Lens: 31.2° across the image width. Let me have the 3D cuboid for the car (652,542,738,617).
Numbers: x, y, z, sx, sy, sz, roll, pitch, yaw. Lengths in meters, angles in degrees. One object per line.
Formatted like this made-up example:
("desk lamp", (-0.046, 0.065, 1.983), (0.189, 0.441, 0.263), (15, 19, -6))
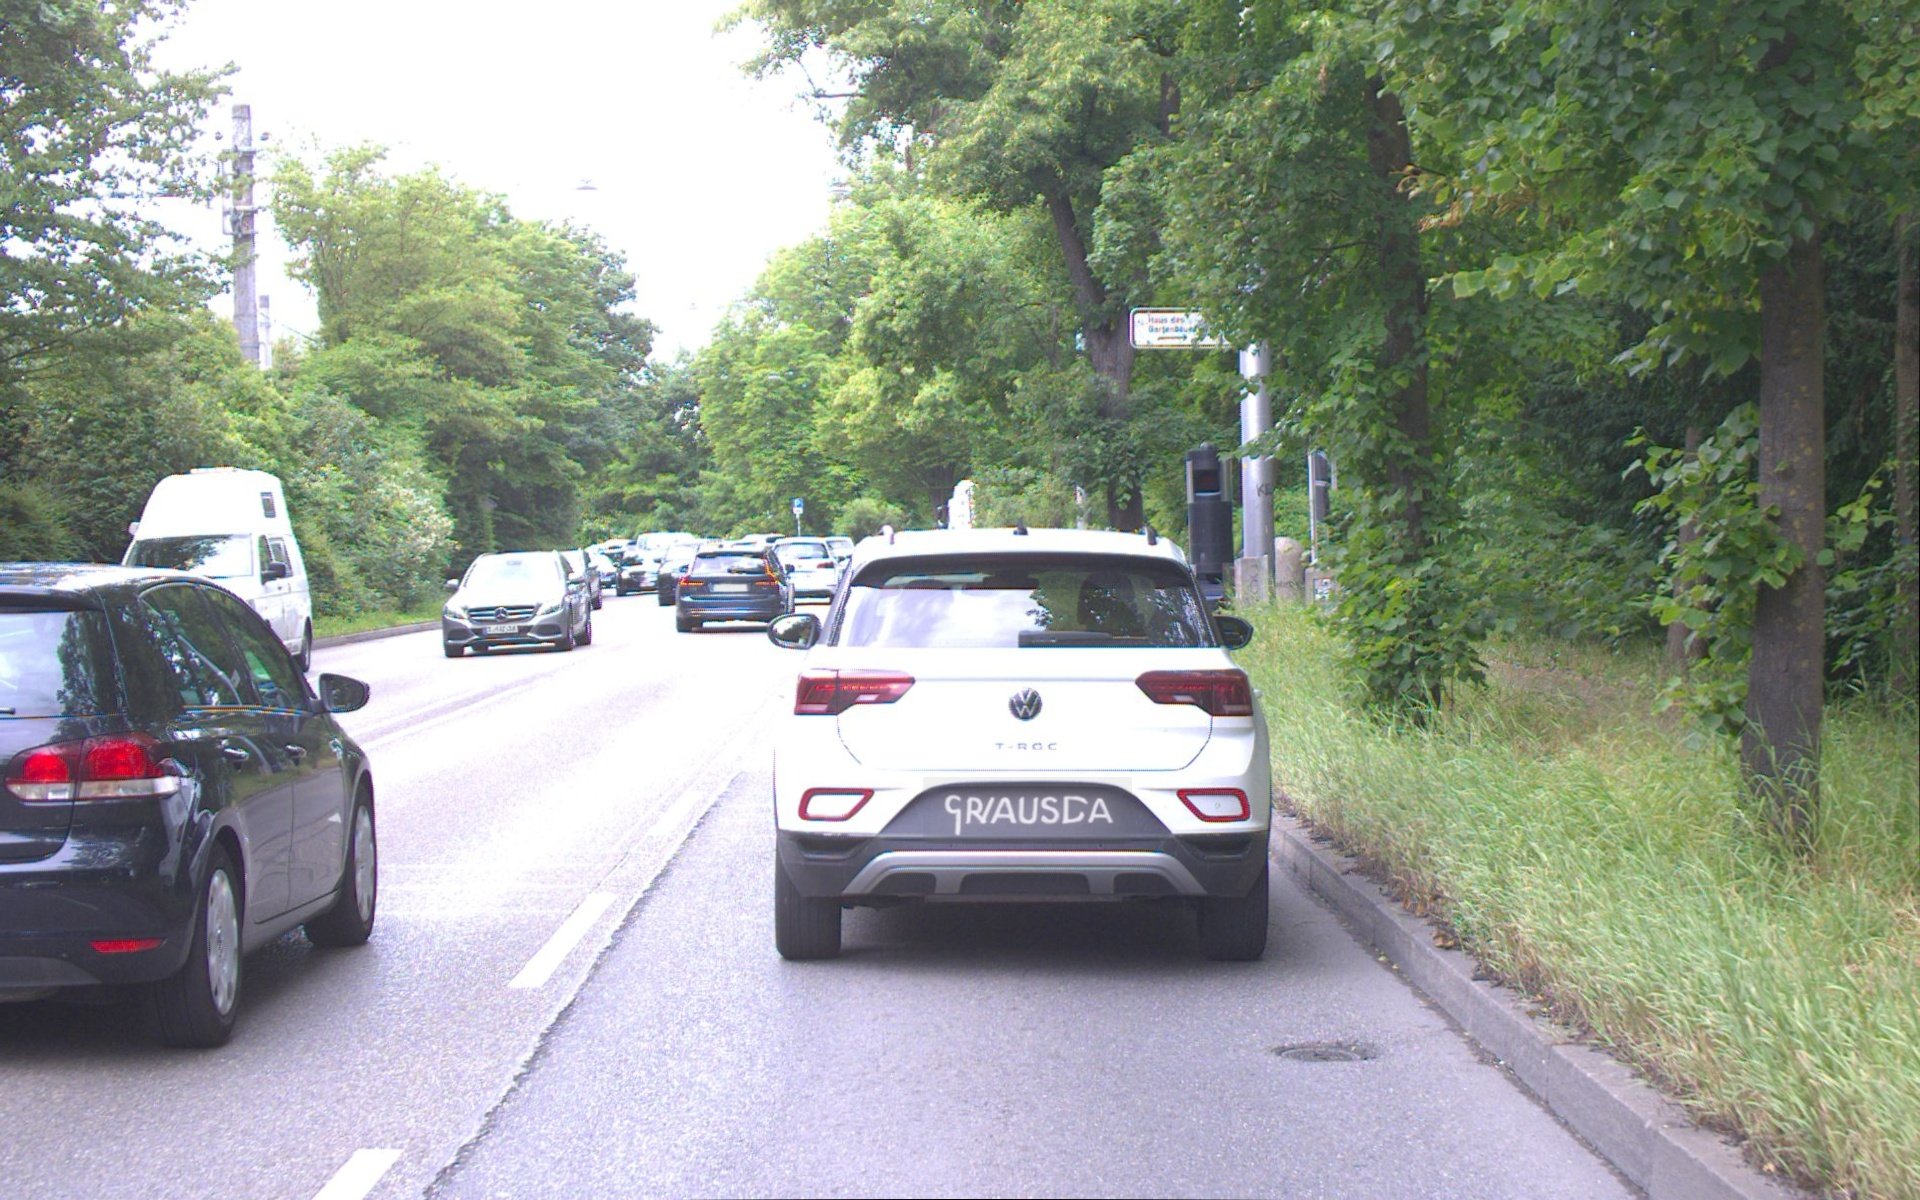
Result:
("car", (-6.852, -0.509, 89.219), (1.810, 1.656, 4.829), (-2, -2, 0))

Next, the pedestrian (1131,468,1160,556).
("pedestrian", (3.694, -1.754, 68.623), (0.519, 1.747, 0.525), (0, 0, -4))

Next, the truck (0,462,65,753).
("truck", (-9.056, 0.095, 27.102), (2.177, 2.403, 6.465), (-1, 1, 1))

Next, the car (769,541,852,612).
("car", (-3.481, -0.560, 80.697), (1.821, 1.617, 4.000), (0, 1, -1))

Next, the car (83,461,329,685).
("car", (-9.304, -0.348, 42.815), (1.887, 2.547, 4.915), (-2, 1, 0))

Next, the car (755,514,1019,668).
("car", (-0.950, -0.137, 42.325), (1.851, 1.697, 4.001), (-4, 2, -22))

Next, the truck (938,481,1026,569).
("truck", (0.785, -2.728, 127.018), (2.481, 3.171, 7.230), (0, 1, -6))

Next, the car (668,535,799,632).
("car", (-3.801, -0.298, 58.234), (1.993, 1.586, 4.000), (0, 1, -1))

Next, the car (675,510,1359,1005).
("car", (0.035, 0.484, 13.184), (2.000, 1.590, 4.001), (0, 1, -8))

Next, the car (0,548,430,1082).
("car", (-3.021, 0.566, 11.407), (1.949, 1.461, 4.000), (0, 1, -1))

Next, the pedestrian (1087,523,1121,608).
("pedestrian", (2.862, -0.686, 68.247), (0.608, 1.692, 0.549), (0, 0, -4))
